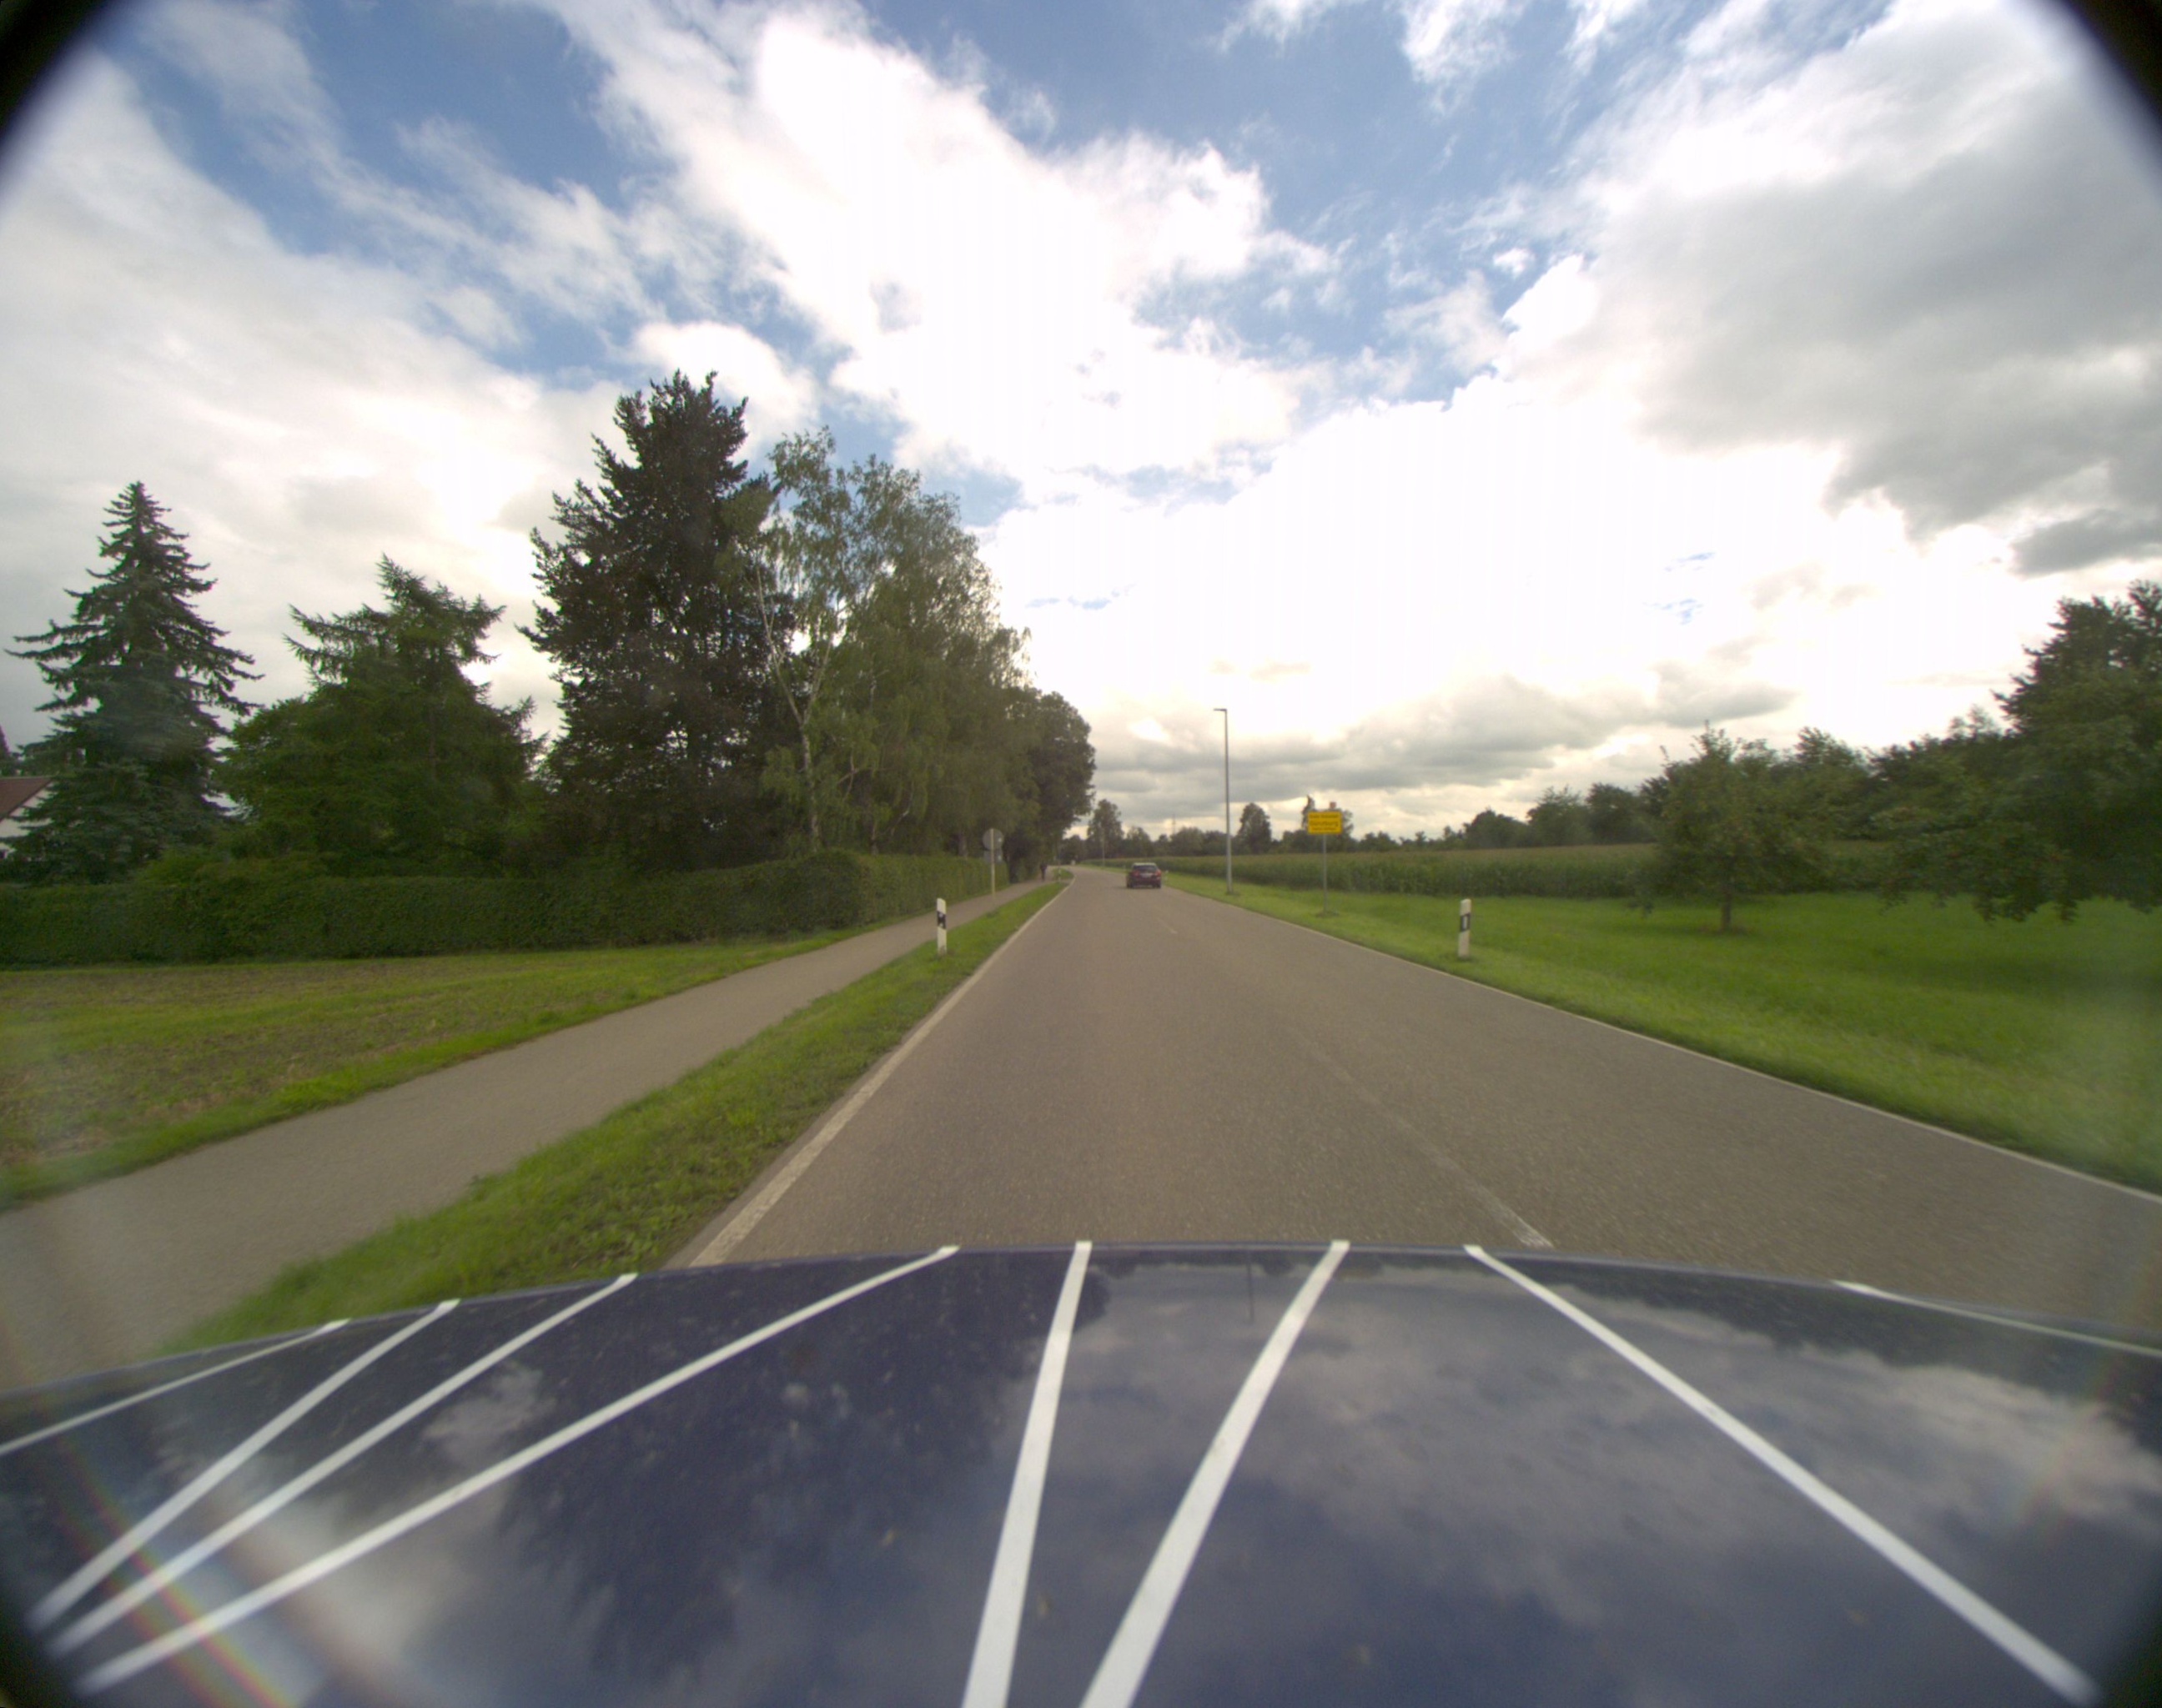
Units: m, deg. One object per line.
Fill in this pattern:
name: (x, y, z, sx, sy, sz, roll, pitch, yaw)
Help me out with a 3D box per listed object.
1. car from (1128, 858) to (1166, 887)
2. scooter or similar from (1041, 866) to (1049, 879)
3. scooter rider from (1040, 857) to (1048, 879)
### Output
car: (3.731, 1.012, 43.784, 1.869, 1.543, 4.182, 1, 0, 1)
scooter or similar: (-3.325, 1.706, 70.077, 0.650, 1.157, 1.695, -2, 0, 1)
scooter rider: (-3.428, 1.279, 70.247, 0.644, 1.954, 0.786, -2, 0, 1)
